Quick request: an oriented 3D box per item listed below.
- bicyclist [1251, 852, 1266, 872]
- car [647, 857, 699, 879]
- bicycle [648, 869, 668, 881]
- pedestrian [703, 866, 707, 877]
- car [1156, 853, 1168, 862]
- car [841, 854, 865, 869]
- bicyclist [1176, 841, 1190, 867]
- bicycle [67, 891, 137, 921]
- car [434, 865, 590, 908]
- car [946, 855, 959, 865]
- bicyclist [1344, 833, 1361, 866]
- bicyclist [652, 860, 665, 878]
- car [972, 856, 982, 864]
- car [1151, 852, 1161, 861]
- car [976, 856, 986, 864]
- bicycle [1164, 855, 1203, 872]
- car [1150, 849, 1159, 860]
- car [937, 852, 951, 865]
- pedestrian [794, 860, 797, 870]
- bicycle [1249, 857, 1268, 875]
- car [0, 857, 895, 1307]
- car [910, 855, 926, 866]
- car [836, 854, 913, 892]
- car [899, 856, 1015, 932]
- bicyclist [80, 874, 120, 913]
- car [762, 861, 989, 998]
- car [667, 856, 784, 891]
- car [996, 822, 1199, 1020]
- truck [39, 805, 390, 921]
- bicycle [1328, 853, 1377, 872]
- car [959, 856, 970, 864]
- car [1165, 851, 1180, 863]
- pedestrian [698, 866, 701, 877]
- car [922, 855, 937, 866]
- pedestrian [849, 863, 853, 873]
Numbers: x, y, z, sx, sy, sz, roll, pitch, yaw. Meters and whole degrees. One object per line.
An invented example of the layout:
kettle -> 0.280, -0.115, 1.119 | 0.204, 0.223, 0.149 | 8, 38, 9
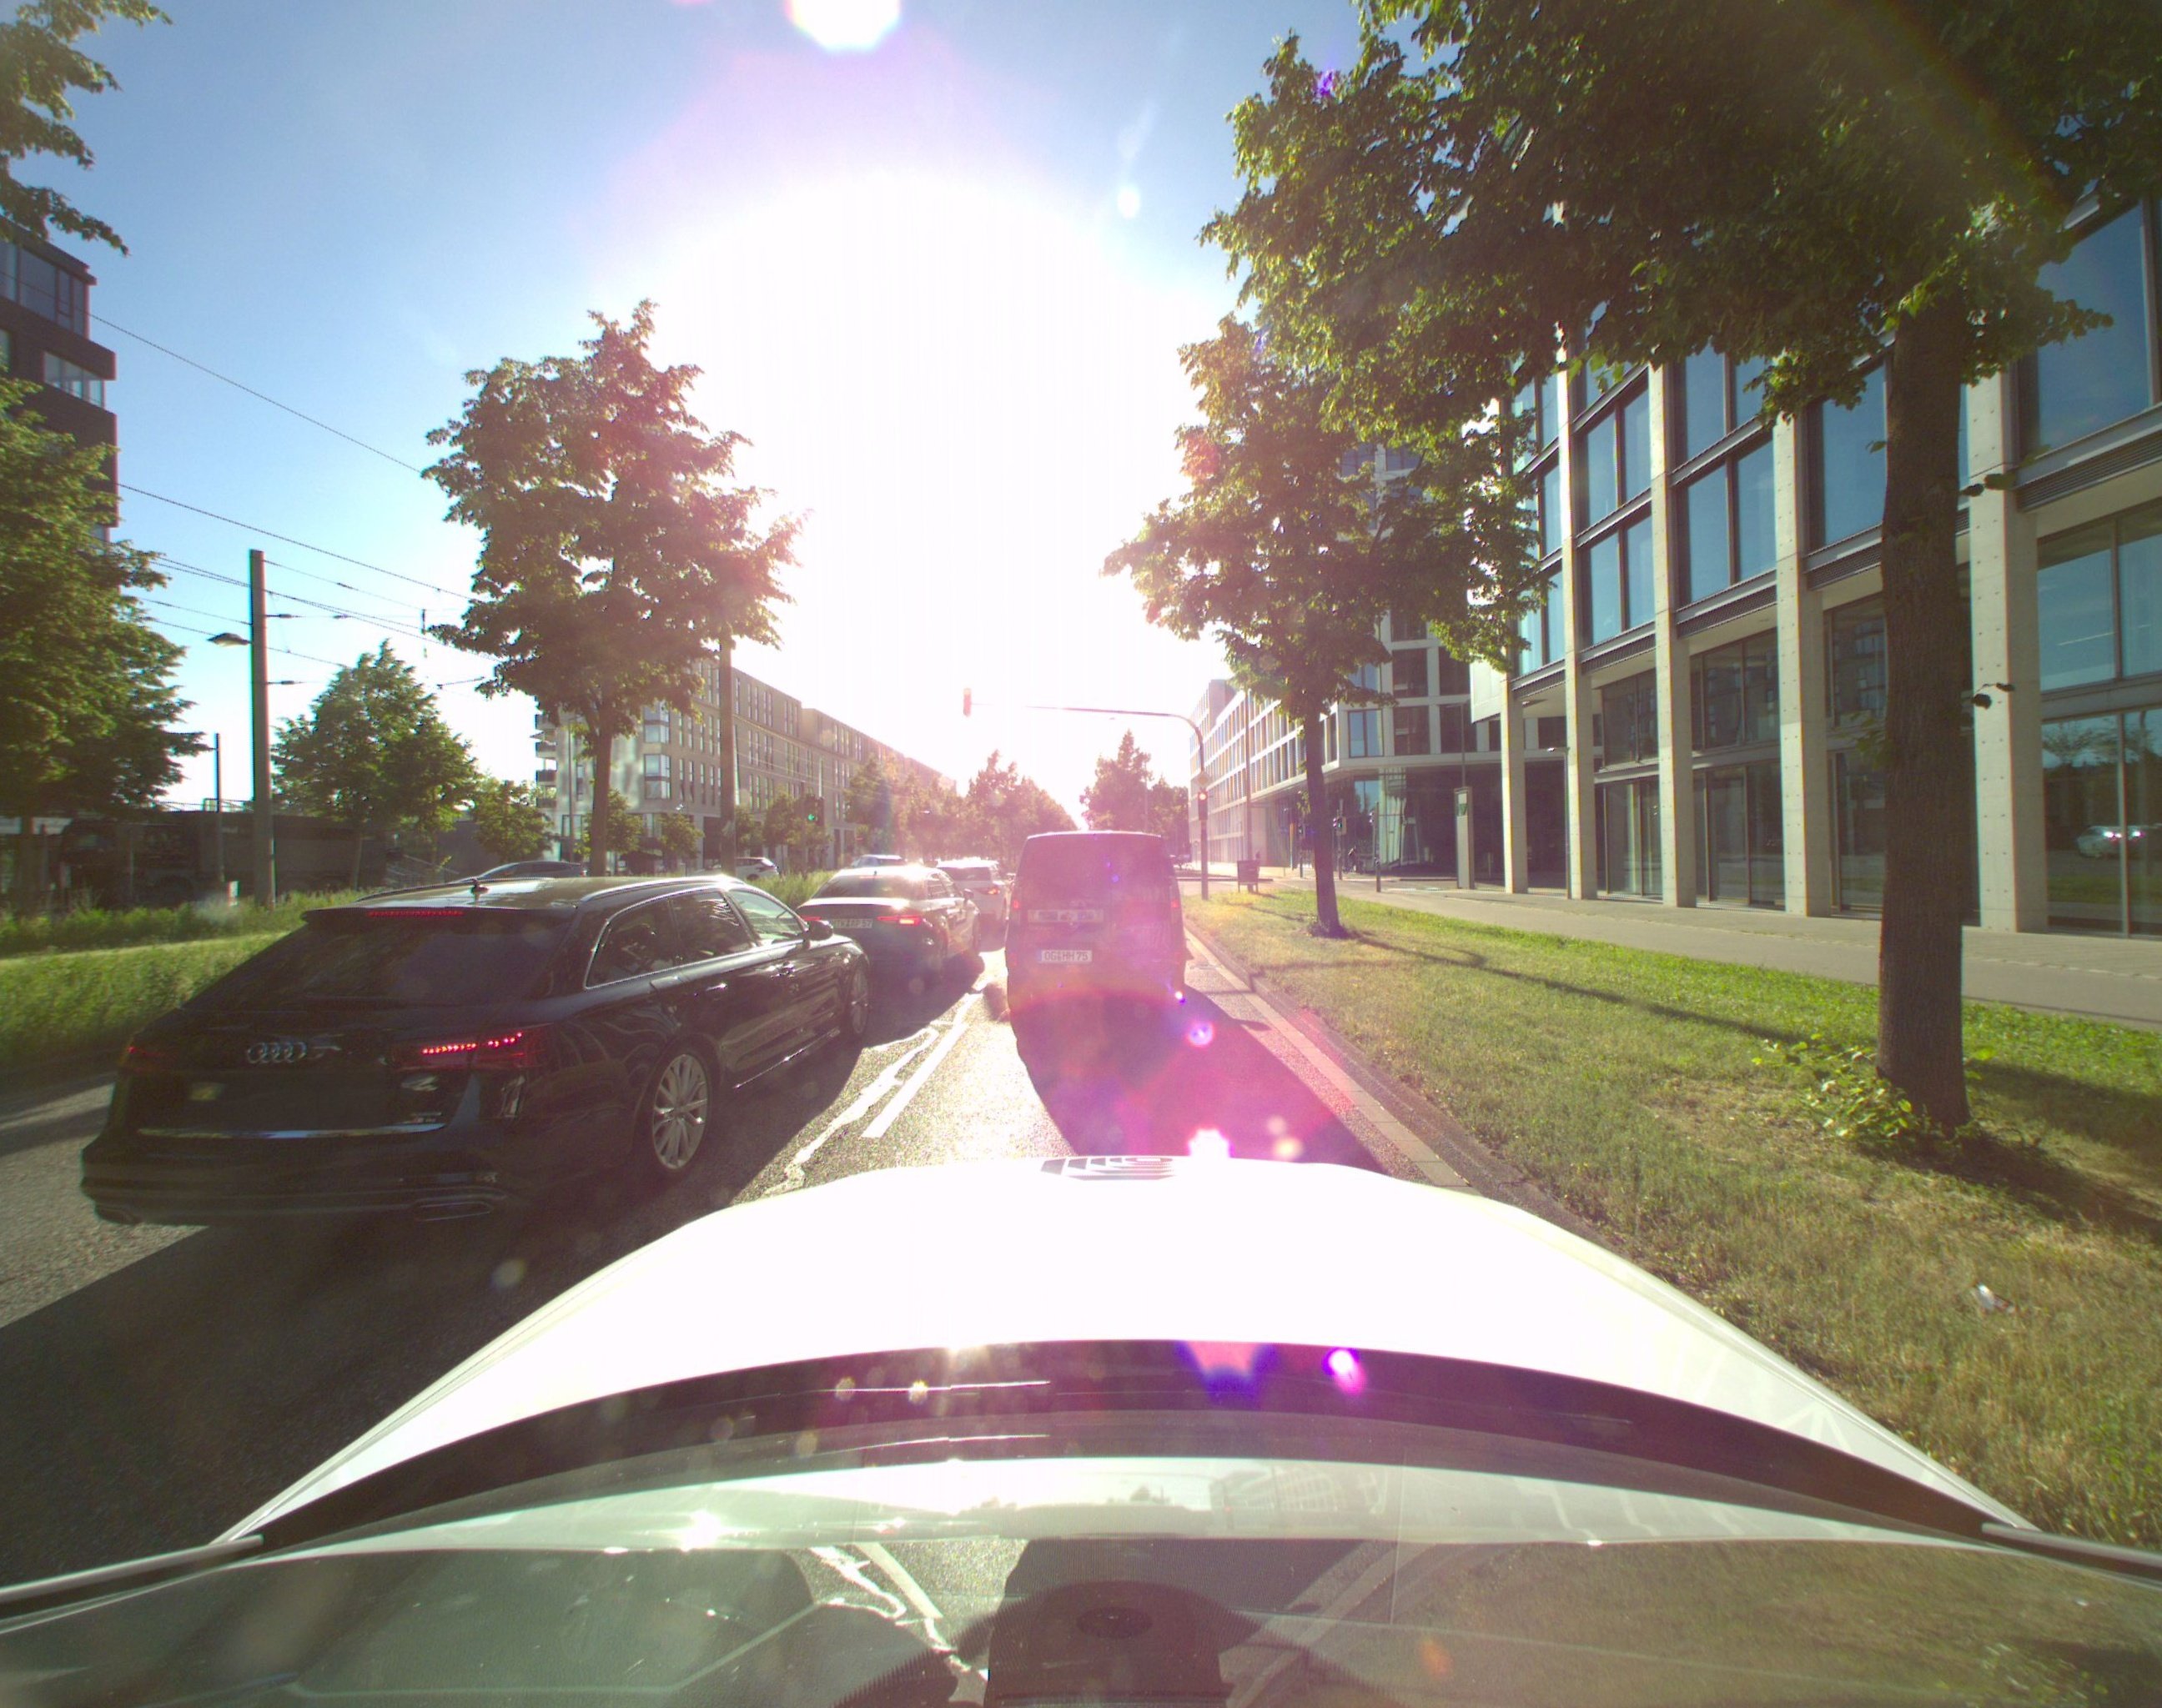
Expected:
bicyclist -> 11.671, 0.500, 53.623 | 0.814, 1.275, 0.683 | -1, 0, 4
car -> -31.043, 1.044, 62.062 | 1.758, 1.520, 4.002 | -1, 0, 2
bicycle -> -38.047, 1.915, 73.310 | 0.674, 0.988, 1.957 | -1, 0, 2
pedestrian -> -40.094, 1.875, 86.908 | 0.253, 1.085, 0.289 | -1, 0, 1
car -> 15.976, 0.657, 160.461 | 1.986, 1.782, 4.002 | -1, 0, 2
car -> -30.875, 1.000, 110.583 | 1.986, 2.013, 4.002 | -1, 0, 2
bicyclist -> 7.940, 0.015, 63.459 | 0.993, 1.947, 0.819 | -1, 0, 7
bicycle -> -37.036, 1.950, 30.834 | 0.475, 1.035, 1.757 | -1, 0, 2
car -> -21.908, 1.211, 31.517 | 1.781, 1.447, 4.598 | -1, 0, 37
car -> -28.888, 1.349, 183.353 | 1.986, 2.013, 4.002 | -1, 0, 2
bicyclist -> 17.440, -0.265, 52.385 | 0.931, 2.092, 0.822 | -1, 0, 23
bicyclist -> -38.055, 1.348, 73.364 | 0.674, 1.529, 0.714 | -1, 0, 1
car -> -27.884, 1.556, 218.185 | 1.986, 2.013, 4.002 | -1, 0, 2
car -> 16.520, 0.572, 179.663 | 1.986, 1.782, 4.002 | -1, 0, 2
car -> -27.426, 1.595, 223.801 | 1.986, 2.013, 4.002 | -1, 0, 2
bicycle -> 7.970, 0.744, 63.439 | 2.926, 1.190, 0.819 | -1, 0, 7
car -> 17.905, 0.056, 198.164 | 1.986, 2.497, 4.988 | -1, 0, 2
car -> -28.424, 0.984, 169.279 | 1.986, 2.607, 4.002 | -1, 0, 2
pedestrian -> -39.983, 1.556, 113.876 | 0.295, 1.355, 0.278 | -1, 0, 1
bicycle -> 11.652, 0.773, 53.681 | 0.814, 1.114, 2.849 | -1, 0, 4
car -> -2.758, 0.789, 5.285 | 1.868, 1.484, 4.967 | -1, 0, 1
car -> -30.097, 1.148, 150.273 | 1.986, 2.013, 4.002 | -1, 0, 2
car -> -8.672, 0.769, 33.955 | 1.527, 1.492, 4.167 | -1, 0, -38
car -> -2.564, 0.788, 17.779 | 1.797, 1.426, 3.902 | -1, 0, 2
bicyclist -> -37.045, 1.496, 30.761 | 0.475, 1.424, 0.821 | -1, 0, 2
car -> -2.496, 0.847, 11.067 | 1.835, 1.426, 4.340 | -1, 0, 2
car -> -16.207, 0.860, 37.238 | 4.535, 1.447, 1.806 | -1, 0, 2
car -> 0.213, 0.613, 9.479 | 1.835, 1.780, 4.002 | -1, 0, 2
truck -> -33.631, 0.292, 32.635 | 2.880, 3.853, 10.218 | -1, 0, 2
bicycle -> 17.461, 0.537, 52.369 | 2.916, 1.190, 0.822 | -1, 0, 22
car -> -28.596, 1.446, 200.172 | 1.986, 2.013, 4.002 | -1, 0, 2
car -> 14.335, 0.451, 127.922 | 1.986, 1.782, 4.002 | -1, 0, 2
pedestrian -> -40.697, 1.862, 86.895 | 0.253, 1.085, 0.260 | -1, 0, 1
car -> -29.684, 1.205, 159.369 | 1.986, 2.013, 4.002 | -1, 0, 2
pedestrian -> -38.862, 2.357, 137.360 | 0.466, 1.744, 0.480 | -1, 0, 1
